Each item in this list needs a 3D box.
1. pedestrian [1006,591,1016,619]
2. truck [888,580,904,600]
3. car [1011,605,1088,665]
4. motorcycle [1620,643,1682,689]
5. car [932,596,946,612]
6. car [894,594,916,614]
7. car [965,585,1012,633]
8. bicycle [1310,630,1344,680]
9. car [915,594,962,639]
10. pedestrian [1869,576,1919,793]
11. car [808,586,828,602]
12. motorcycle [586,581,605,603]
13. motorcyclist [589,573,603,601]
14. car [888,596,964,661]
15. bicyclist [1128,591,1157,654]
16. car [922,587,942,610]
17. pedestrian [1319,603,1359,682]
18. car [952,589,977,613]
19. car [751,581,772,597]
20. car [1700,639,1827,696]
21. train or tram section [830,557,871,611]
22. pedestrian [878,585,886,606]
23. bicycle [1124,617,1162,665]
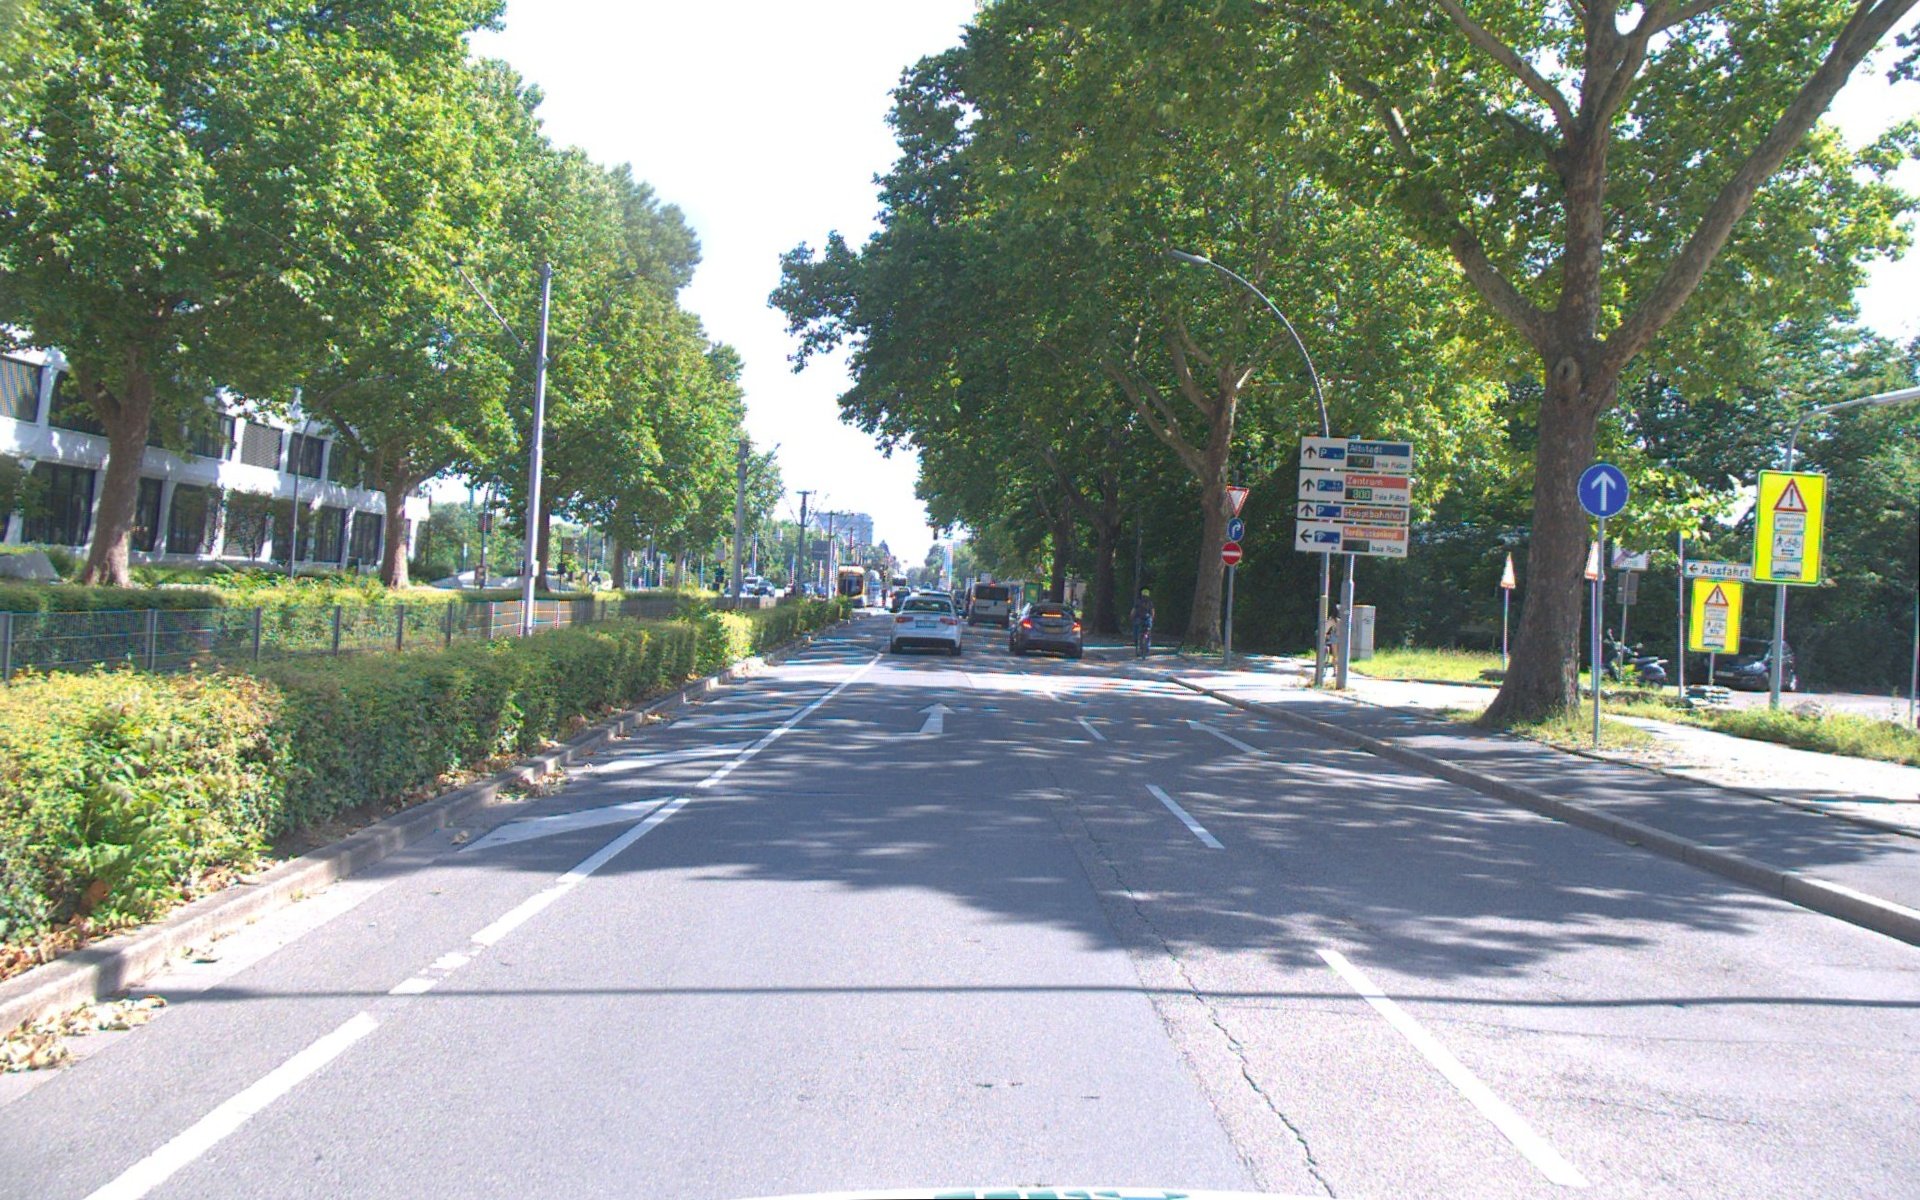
[{"bbox_3d":[3.753,0.367,121.985,0.622,1.980,0.719,3,0,-1],"label":"pedestrian"},{"bbox_3d":[-10.044,-1.550,259.810,1.953,2.838,8.517,3,0,0],"label":"truck"},{"bbox_3d":[2.403,0.923,45.207,1.746,1.445,3.999,4,0,-1],"label":"car"},{"bbox_3d":[15.930,1.522,38.134,1.196,0.984,0.470,3,0,-8],"label":"motorcycle"},{"bbox_3d":[-2.643,0.527,208.219,1.694,1.934,3.999,3,0,-1],"label":"car"},{"bbox_3d":[-4.708,0.328,141.930,1.694,1.659,3.999,3,0,-1],"label":"car"},{"bbox_3d":[1.447,0.455,85.280,2.185,2.250,4.161,3,0,-1],"label":"car"},{"bbox_3d":[8.739,1.297,39.430,0.342,1.100,1.698,3,0,-1],"label":"bicycle"},{"bbox_3d":[-0.861,0.623,64.796,1.694,1.633,3.884,3,0,-1],"label":"car"},{"bbox_3d":[9.010,0.777,14.888,0.920,1.925,1.151,3,0,-1],"label":"pedestrian"},{"bbox_3d":[-16.817,-0.678,195.880,1.953,1.764,3.999,3,0,-1],"label":"car"},{"bbox_3d":[-20.128,-0.432,91.356,0.619,1.195,1.999,3,0,-1],"label":"motorcycle"},{"bbox_3d":[-20.106,-0.726,91.319,0.569,1.482,0.533,3,0,-1],"label":"motorcyclist"},{"bbox_3d":[-0.838,0.685,41.776,1.748,1.445,3.884,4,0,-1],"label":"car"},{"bbox_3d":[4.932,0.602,44.749,0.621,1.676,0.979,1,1,-2],"label":"bicyclist"},{"bbox_3d":[-2.560,-0.130,149.747,1.694,1.934,3.999,3,0,-1],"label":"car"},{"bbox_3d":[9.066,1.009,39.587,0.619,1.816,0.874,3,0,-1],"label":"pedestrian"},{"bbox_3d":[0.396,0.078,150.706,2.030,2.034,4.057,3,0,-1],"label":"car"},{"bbox_3d":[-22.560,-1.252,187.847,1.793,1.652,4.895,3,0,-1],"label":"car"},{"bbox_3d":[23.706,1.992,48.744,3.954,1.479,1.663,3,0,-36],"label":"car"},{"bbox_3d":[-8.796,-1.253,133.478,2.564,4.084,7.748,3,0,0],"label":"train or tram section"},{"bbox_3d":[-7.333,-0.419,155.334,0.611,1.951,0.689,3,0,-1],"label":"pedestrian"},{"bbox_3d":[4.936,1.091,44.744,0.700,1.168,2.178,1,2,-2],"label":"bicycle"}]
